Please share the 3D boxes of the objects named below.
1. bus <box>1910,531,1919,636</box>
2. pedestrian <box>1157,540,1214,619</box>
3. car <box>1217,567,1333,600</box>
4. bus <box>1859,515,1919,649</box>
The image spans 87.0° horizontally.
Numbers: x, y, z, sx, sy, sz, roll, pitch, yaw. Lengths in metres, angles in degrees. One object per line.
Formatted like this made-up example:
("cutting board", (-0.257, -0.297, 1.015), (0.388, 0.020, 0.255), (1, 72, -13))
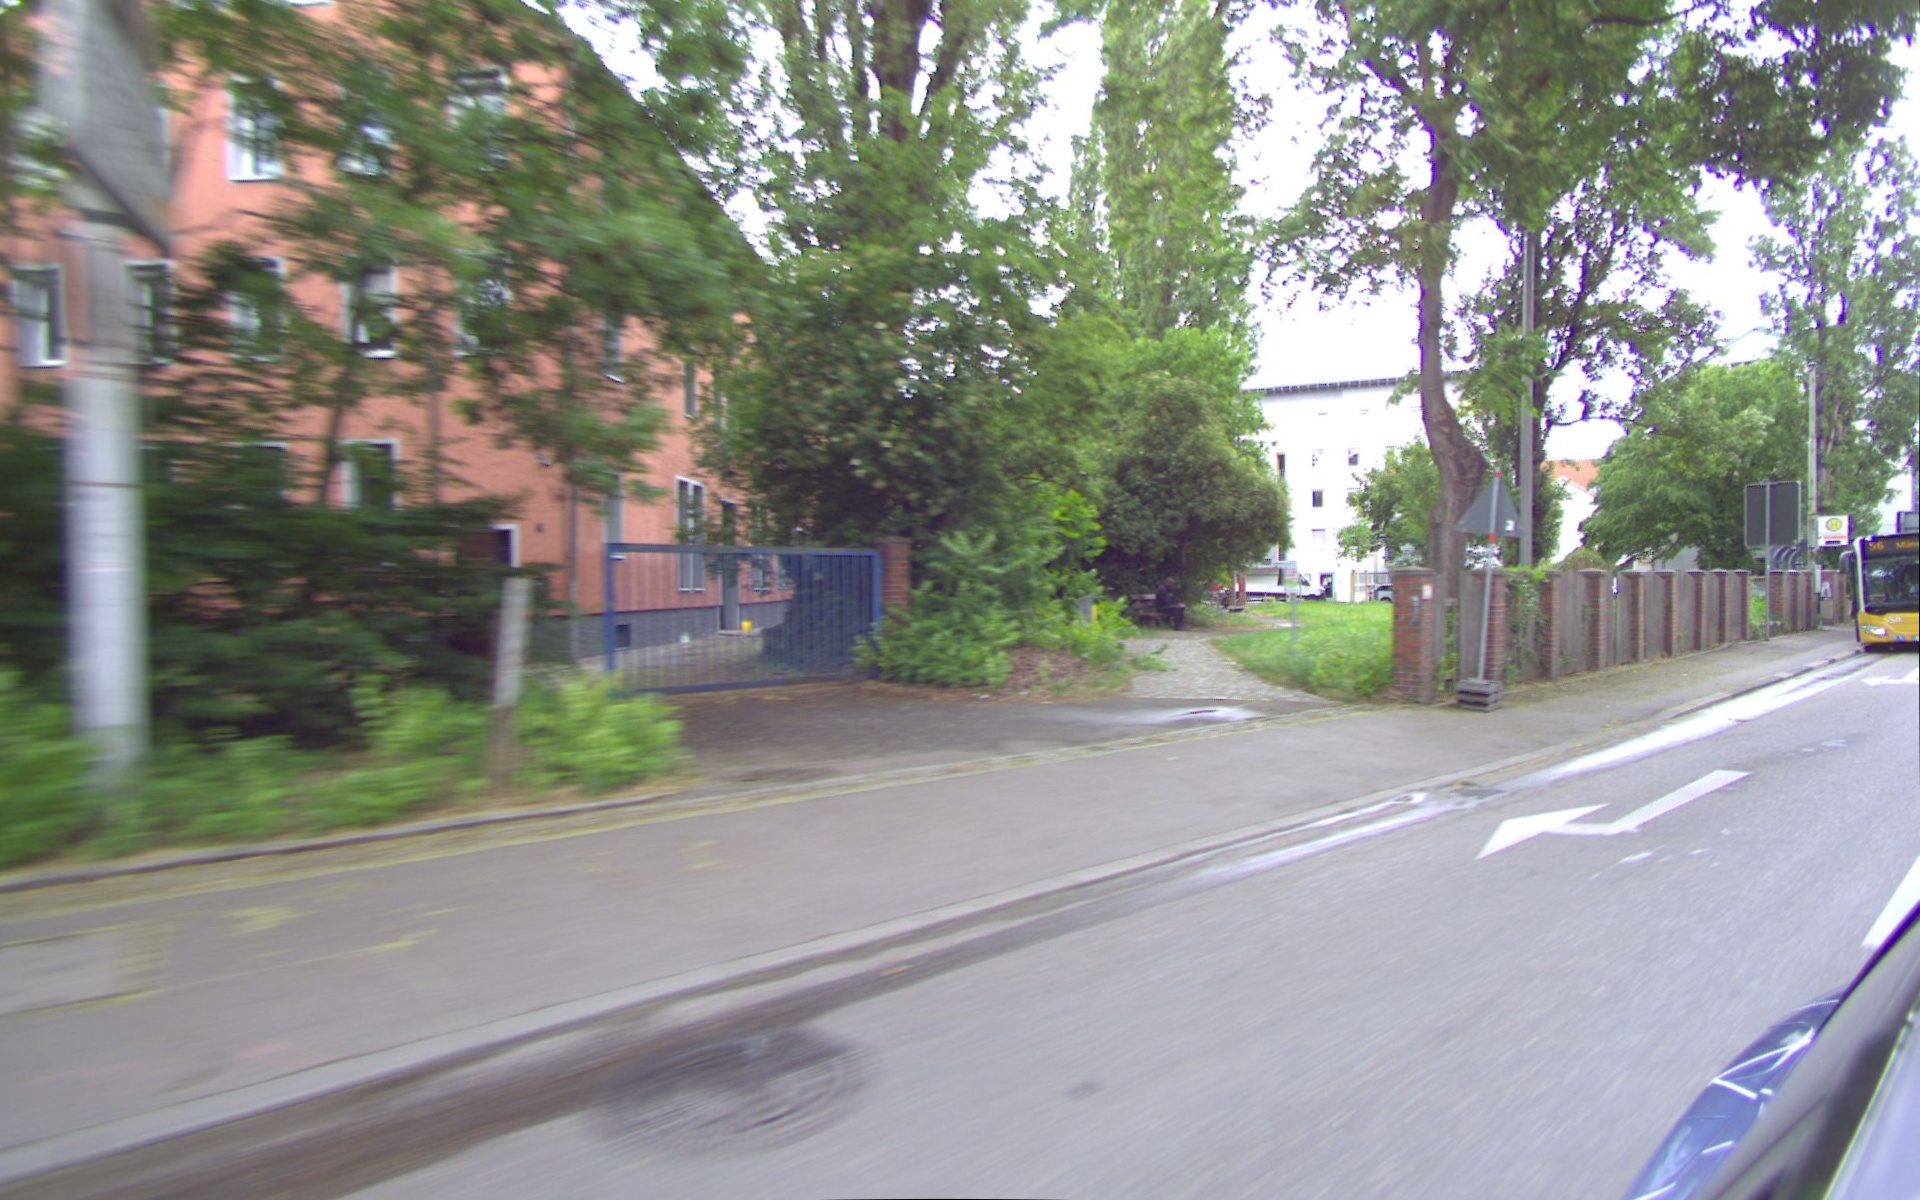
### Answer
("bus", (33.537, -0.622, 32.985), (9.865, 3.176, 2.666), (-1, -2, -41))
("pedestrian", (5.982, -0.552, 26.826), (1.126, 2.038, 1.238), (1, 2, 32))
("car", (16.238, -0.847, 52.161), (5.503, 1.608, 1.984), (0, 3, 26))
("bus", (26.405, -0.509, 26.773), (9.057, 3.179, 2.675), (-1, -2, -41))
